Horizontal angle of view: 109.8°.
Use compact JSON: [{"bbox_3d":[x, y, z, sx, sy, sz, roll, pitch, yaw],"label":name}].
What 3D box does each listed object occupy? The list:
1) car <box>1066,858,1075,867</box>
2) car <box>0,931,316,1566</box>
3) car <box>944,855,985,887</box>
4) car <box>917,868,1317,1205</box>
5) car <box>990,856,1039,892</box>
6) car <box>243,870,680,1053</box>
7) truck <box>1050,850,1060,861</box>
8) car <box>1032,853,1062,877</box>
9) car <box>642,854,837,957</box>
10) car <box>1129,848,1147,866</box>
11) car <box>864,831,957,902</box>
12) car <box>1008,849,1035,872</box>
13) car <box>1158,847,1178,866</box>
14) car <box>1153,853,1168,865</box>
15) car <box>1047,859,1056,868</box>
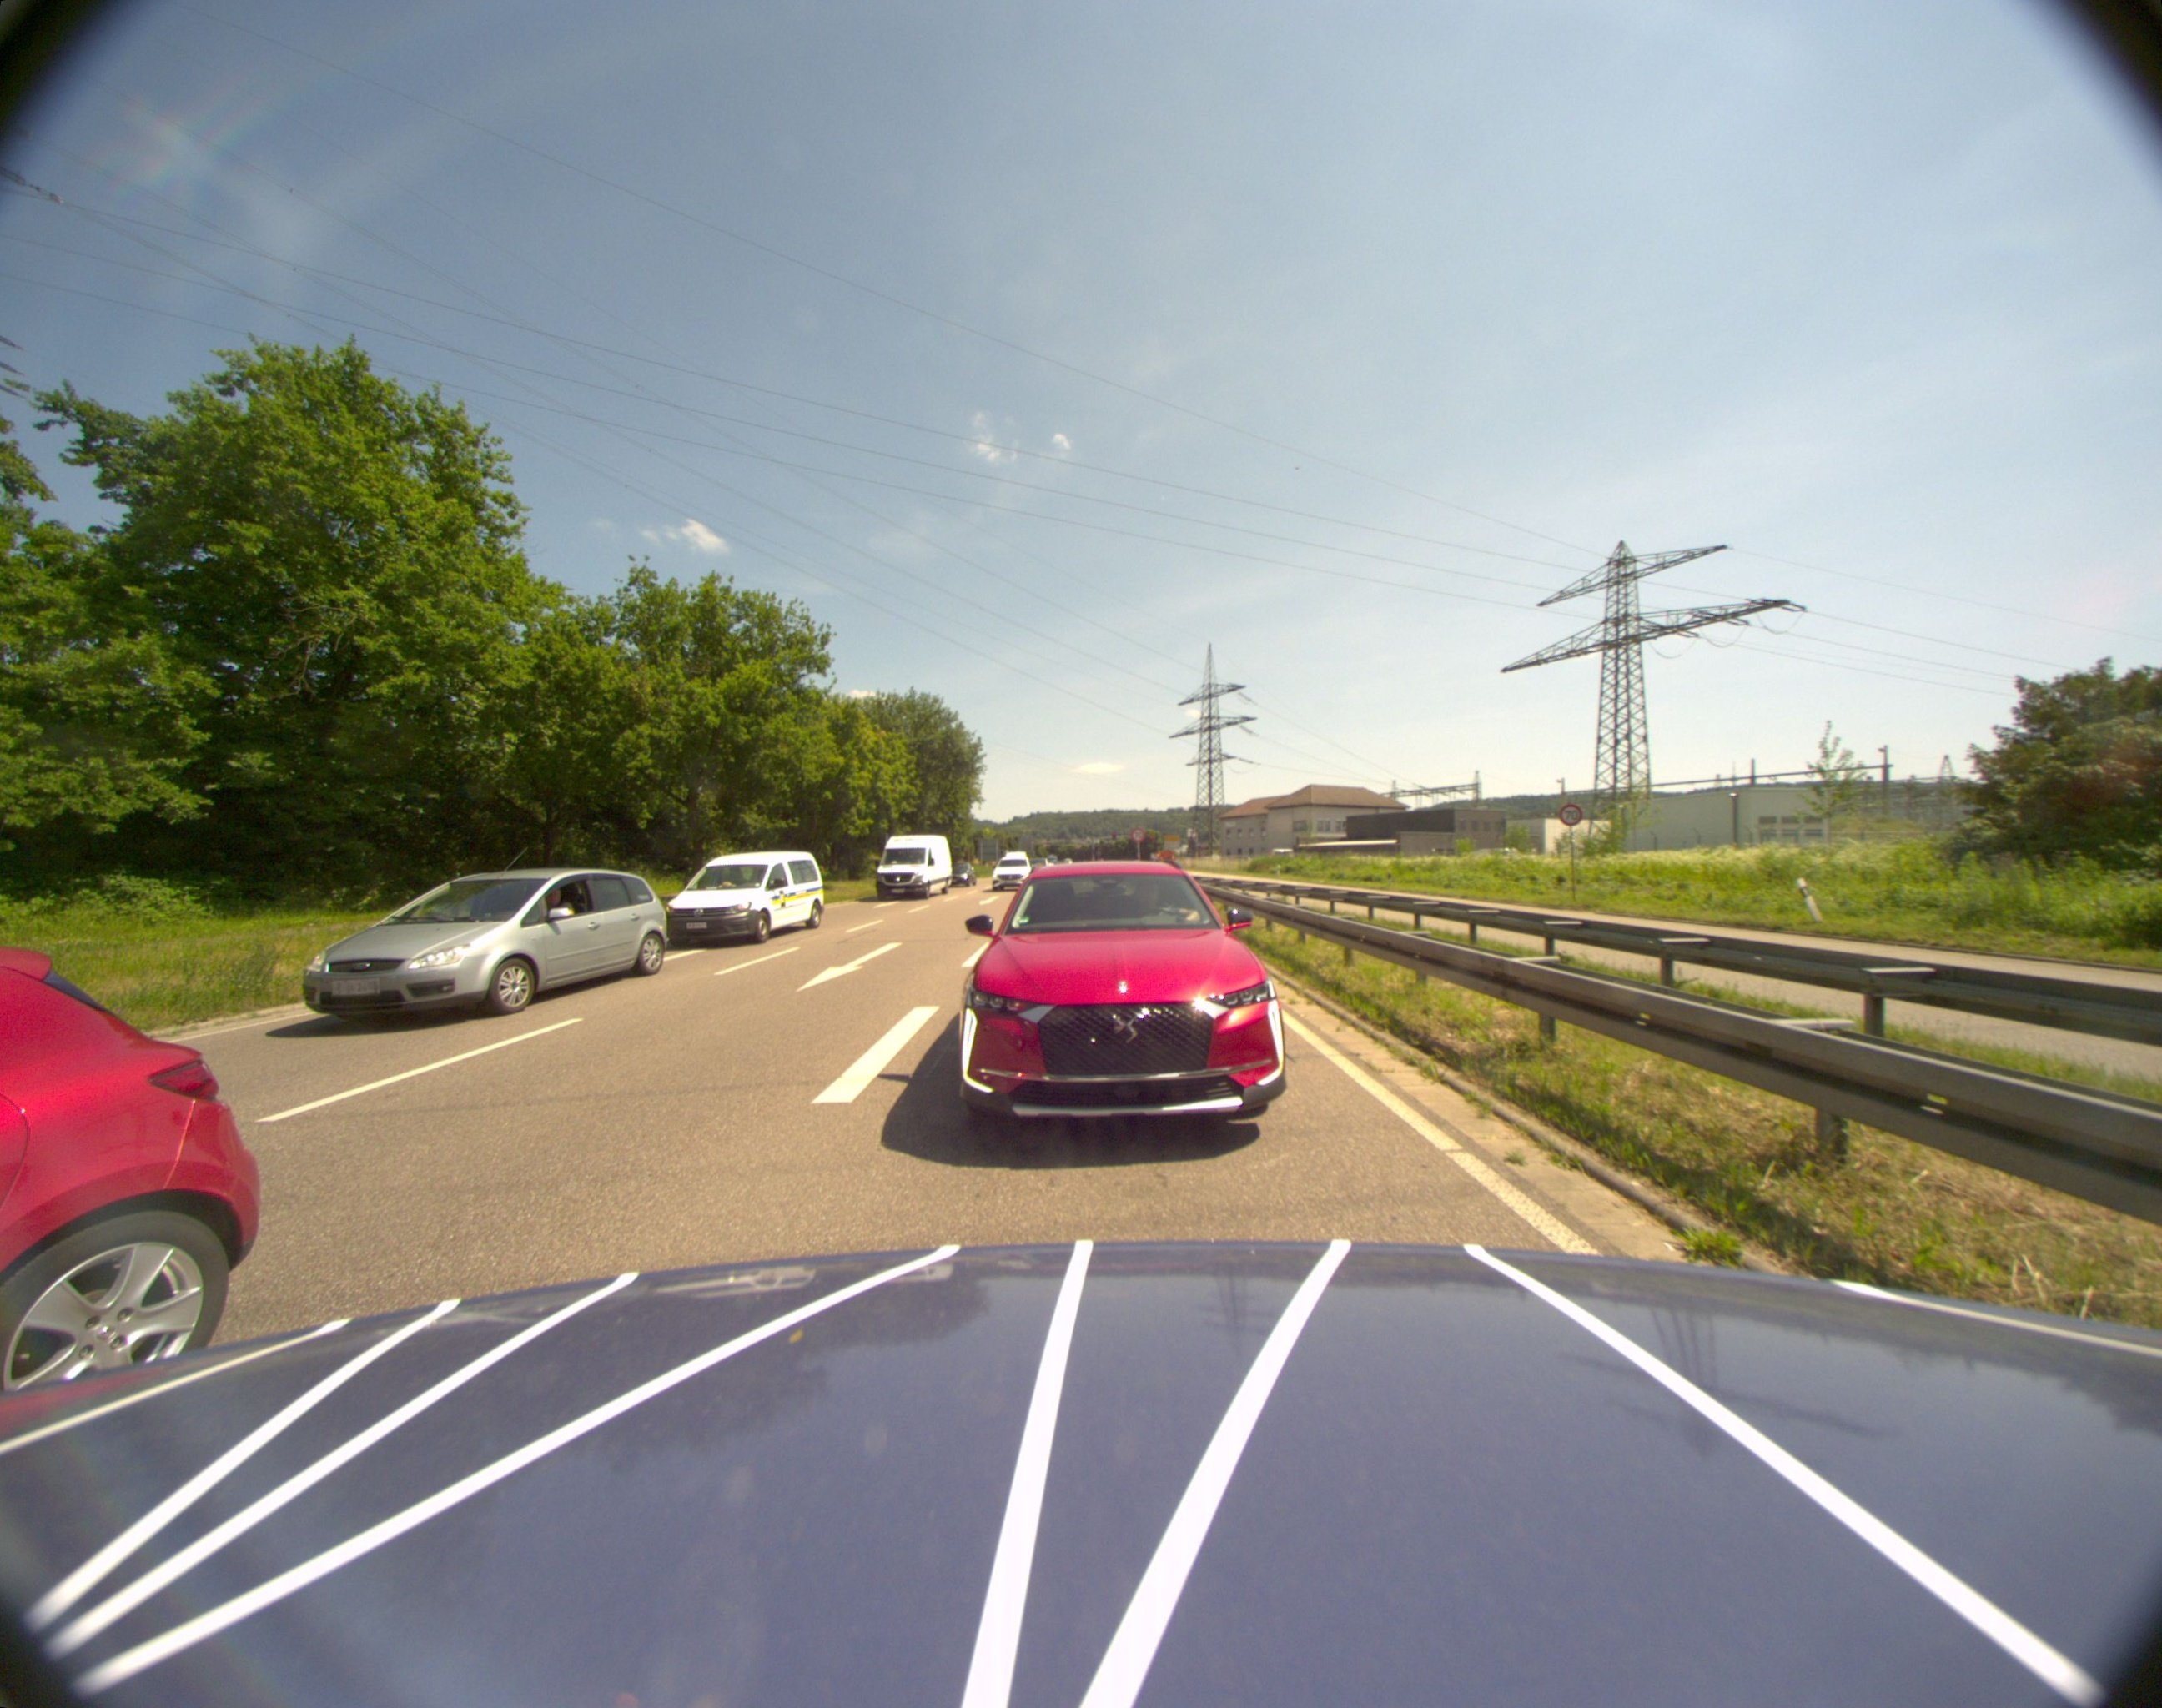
[{"bbox_3d":[-2.274,1.890,166.300,1.878,1.674,3.998,-2,1,-2],"label":"car"},{"bbox_3d":[-3.507,1.018,0.536,1.747,1.453,4.065,-2,0,0],"label":"car"},{"bbox_3d":[-6.812,0.935,44.864,1.878,1.674,3.998,-2,1,-2],"label":"car"},{"bbox_3d":[0.200,0.909,5.810,1.846,1.453,4.414,-2,0,1],"label":"car"},{"bbox_3d":[-3.144,0.899,36.578,1.850,1.559,4.363,-2,0,1],"label":"car"},{"bbox_3d":[-6.974,1.060,9.303,1.747,1.585,4.272,-2,0,1],"label":"car"},{"bbox_3d":[-6.428,0.388,187.802,2.170,2.428,4.909,-2,1,-2],"label":"truck"},{"bbox_3d":[-2.521,0.768,56.912,2.022,1.671,3.999,-2,0,-1],"label":"car"},{"bbox_3d":[-6.976,0.926,16.248,1.809,1.790,5.037,-2,0,0],"label":"car"},{"bbox_3d":[9.761,0.447,130.295,2.607,3.043,5.638,0,0,0],"label":"car"},{"bbox_3d":[-7.005,0.459,32.214,2.232,2.592,7.018,-2,0,0],"label":"car"},{"bbox_3d":[-6.440,0.688,83.331,2.308,2.408,5.814,-2,0,1],"label":"car"},{"bbox_3d":[14.376,0.401,125.632,2.607,3.043,5.638,0,0,0],"label":"car"},{"bbox_3d":[14.151,0.925,135.518,1.999,1.904,3.998,-2,1,-3],"label":"car"},{"bbox_3d":[-6.131,2.048,159.724,1.878,1.674,3.998,-2,1,-2],"label":"car"}]
